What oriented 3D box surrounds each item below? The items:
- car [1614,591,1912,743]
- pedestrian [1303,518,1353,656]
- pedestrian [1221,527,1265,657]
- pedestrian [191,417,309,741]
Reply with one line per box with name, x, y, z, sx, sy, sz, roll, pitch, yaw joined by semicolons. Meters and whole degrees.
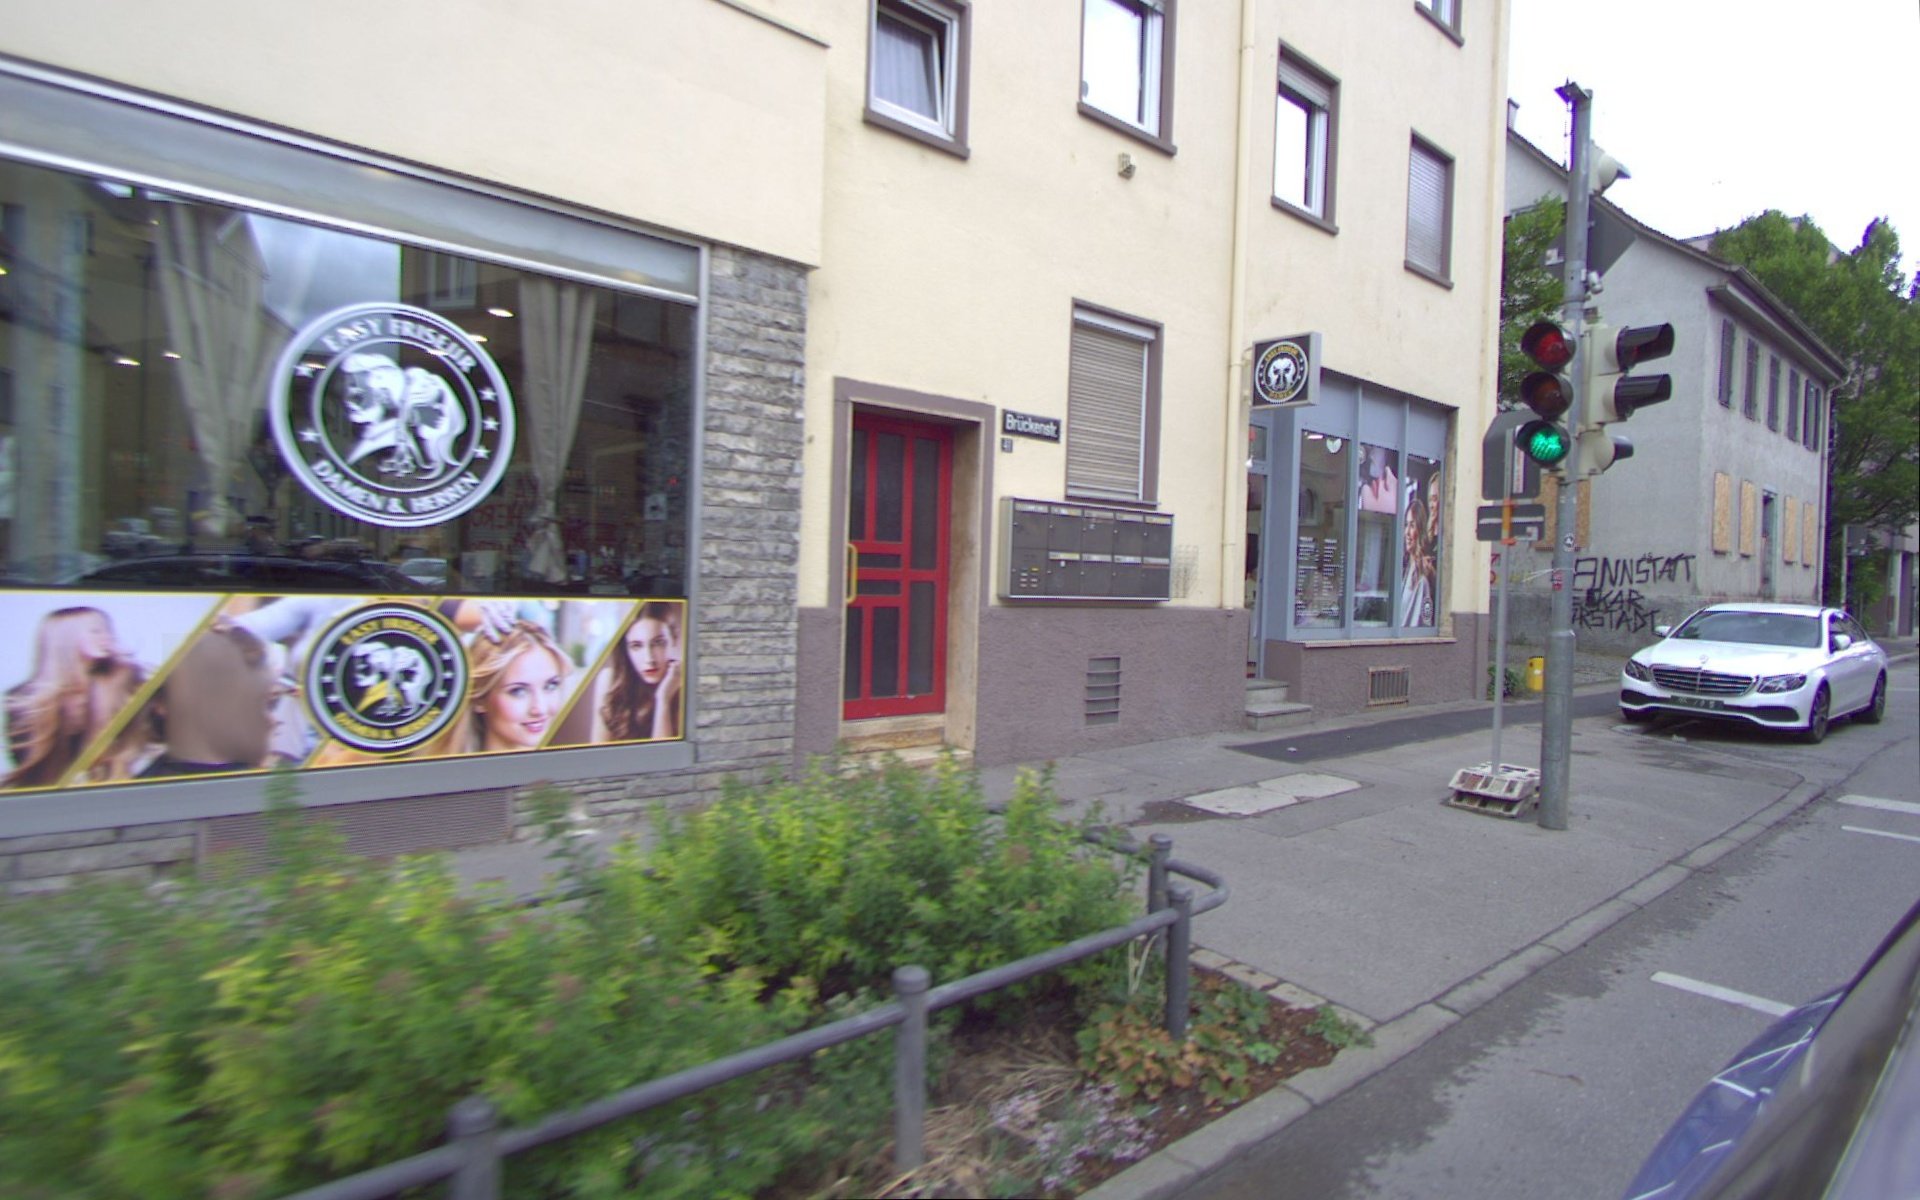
car;9.909;0.659;12.350;4.695;1.484;1.772;0;2;-38
pedestrian;4.247;-0.156;11.681;0.412;1.550;0.373;-1;1;-38
pedestrian;3.444;-0.107;12.317;0.351;1.550;0.373;-1;1;-38
pedestrian;-4.089;-0.121;5.839;0.391;1.796;0.385;0;1;16
